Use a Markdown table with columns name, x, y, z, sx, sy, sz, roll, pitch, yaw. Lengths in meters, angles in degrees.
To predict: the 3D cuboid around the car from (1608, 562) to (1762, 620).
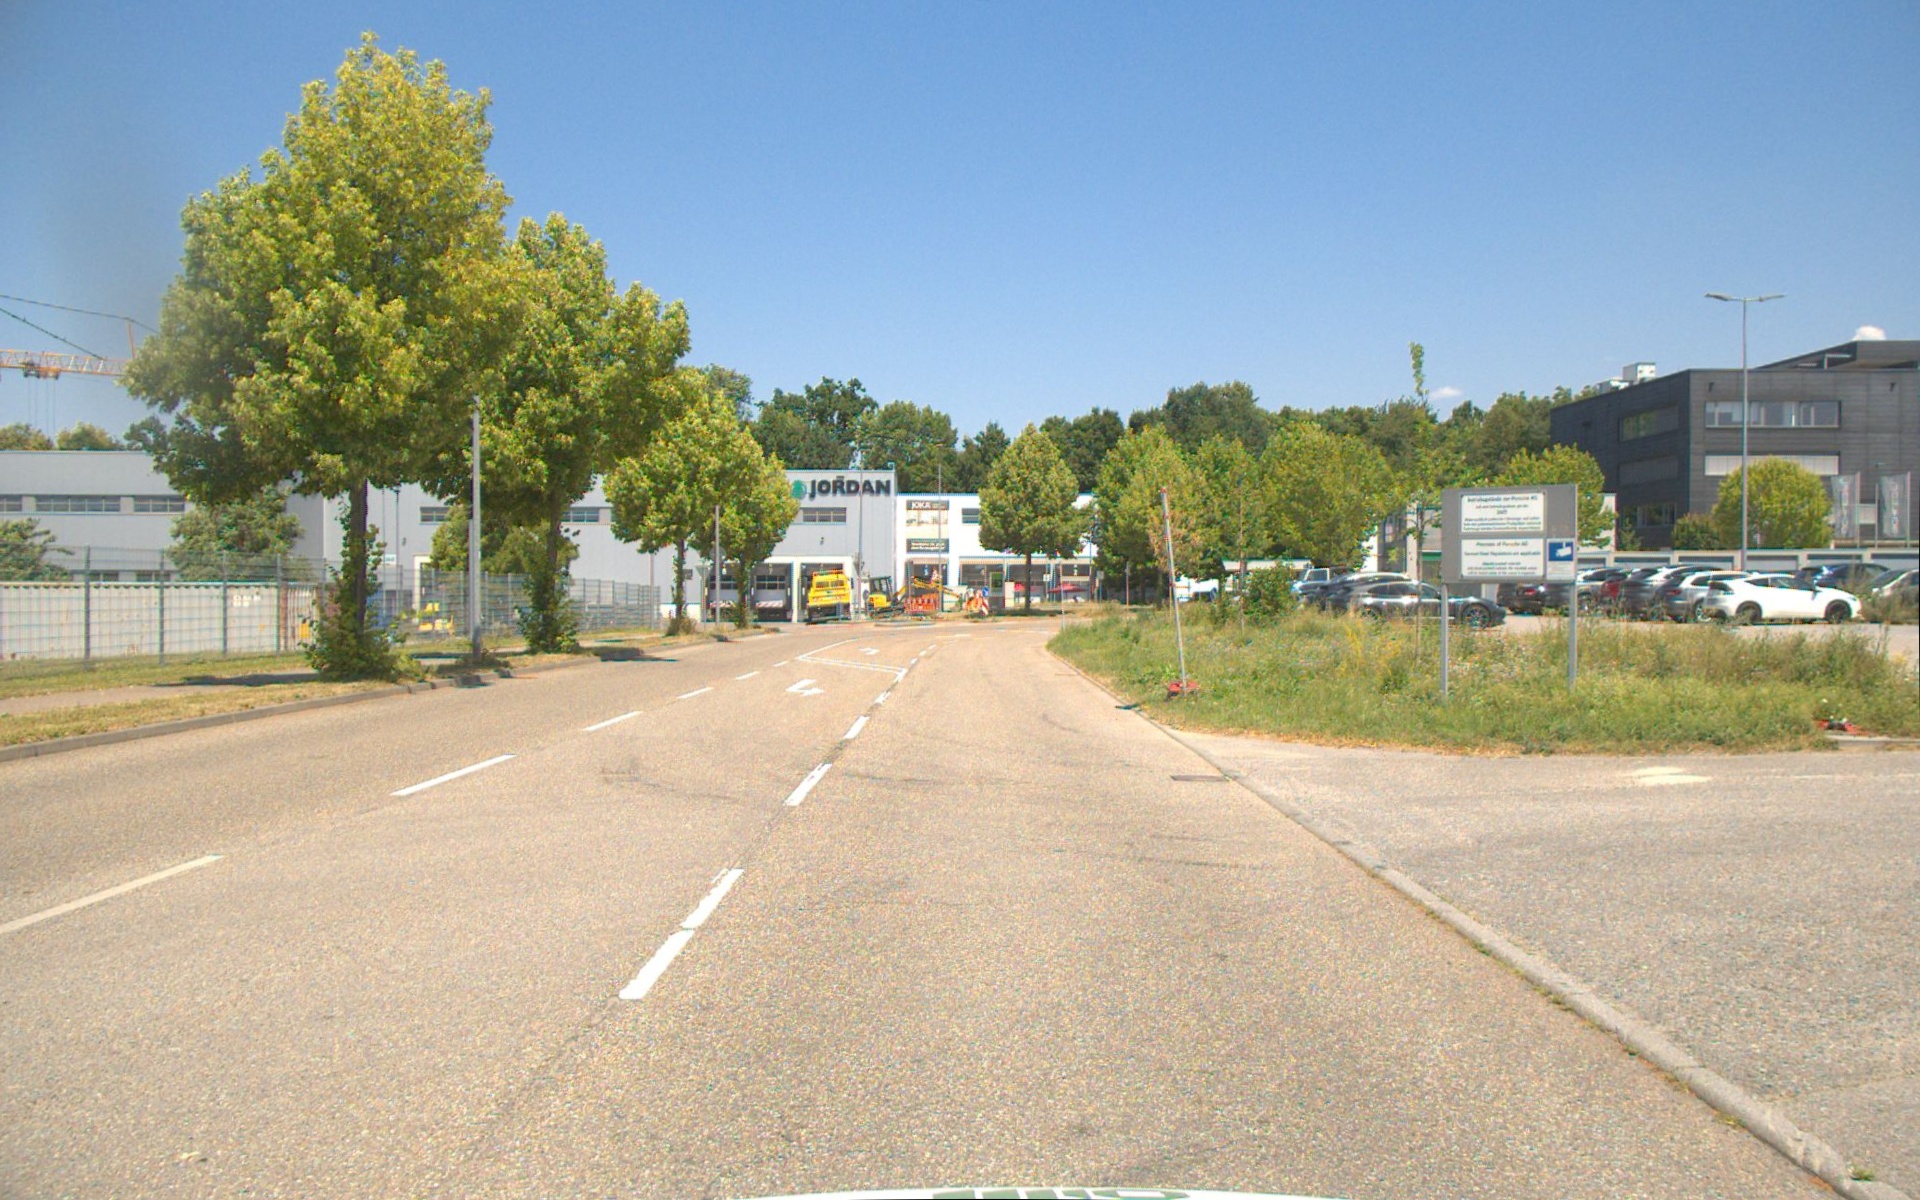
| name | x | y | z | sx | sy | sz | roll | pitch | yaw |
| --- | --- | --- | --- | --- | --- | --- | --- | --- | --- |
| car | 21.938 | -0.289 | 50.135 | 3.908 | 1.516 | 1.768 | -2 | 3 | -4 |

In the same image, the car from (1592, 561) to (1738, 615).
| name | x | y | z | sx | sy | sz | roll | pitch | yaw |
| --- | --- | --- | --- | --- | --- | --- | --- | --- | --- |
| car | 22.462 | -0.404 | 52.790 | 3.908 | 1.486 | 1.768 | -2 | 3 | -4 |

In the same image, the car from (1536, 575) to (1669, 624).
| name | x | y | z | sx | sy | sz | roll | pitch | yaw |
| --- | --- | --- | --- | --- | --- | --- | --- | --- | --- |
| car | 22.229 | -0.030 | 57.265 | 3.908 | 1.424 | 1.768 | -2 | 3 | -4 |

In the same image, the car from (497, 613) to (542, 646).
| name | x | y | z | sx | sy | sz | roll | pitch | yaw |
| --- | --- | --- | --- | --- | --- | --- | --- | --- | --- |
| car | -26.080 | 1.728 | 98.100 | 1.956 | 1.578 | 3.996 | -2 | 3 | -7 |

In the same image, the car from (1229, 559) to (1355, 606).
| name | x | y | z | sx | sy | sz | roll | pitch | yaw |
| --- | --- | --- | --- | --- | --- | --- | --- | --- | --- |
| car | 11.761 | -0.626 | 58.730 | 4.080 | 1.424 | 1.768 | -2 | 3 | -4 |

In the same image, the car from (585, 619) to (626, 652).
| name | x | y | z | sx | sy | sz | roll | pitch | yaw |
| --- | --- | --- | --- | --- | --- | --- | --- | --- | --- |
| car | -21.011 | 2.085 | 98.167 | 1.956 | 1.578 | 3.996 | -2 | 3 | -7 |

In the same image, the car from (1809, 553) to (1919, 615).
| name | x | y | z | sx | sy | sz | roll | pitch | yaw |
| --- | --- | --- | --- | --- | --- | --- | --- | --- | --- |
| car | 27.735 | -0.499 | 49.352 | 3.908 | 1.623 | 1.768 | -2 | 3 | -4 |

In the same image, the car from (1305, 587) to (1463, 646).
| name | x | y | z | sx | sy | sz | roll | pitch | yaw |
| --- | --- | --- | --- | --- | --- | --- | --- | --- | --- |
| car | 12.230 | 0.459 | 47.869 | 4.080 | 1.424 | 1.768 | -2 | 3 | -4 |

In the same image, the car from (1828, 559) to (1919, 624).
| name | x | y | z | sx | sy | sz | roll | pitch | yaw |
| --- | --- | --- | --- | --- | --- | --- | --- | --- | --- |
| car | 26.845 | -0.278 | 46.602 | 3.908 | 1.623 | 1.768 | -2 | 3 | -4 |

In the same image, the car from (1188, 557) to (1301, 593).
| name | x | y | z | sx | sy | sz | roll | pitch | yaw |
| --- | --- | --- | --- | --- | --- | --- | --- | --- | --- |
| car | 18.600 | -1.641 | 108.376 | 7.022 | 2.124 | 2.001 | -1 | -1 | 3 |

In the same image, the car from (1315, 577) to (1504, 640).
| name | x | y | z | sx | sy | sz | roll | pitch | yaw |
| --- | --- | --- | --- | --- | --- | --- | --- | --- | --- |
| car | 12.122 | 0.209 | 44.833 | 4.606 | 1.424 | 1.923 | -2 | 3 | 2 |

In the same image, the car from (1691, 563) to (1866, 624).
| name | x | y | z | sx | sy | sz | roll | pitch | yaw |
| --- | --- | --- | --- | --- | --- | --- | --- | --- | --- |
| car | 22.124 | -0.194 | 44.791 | 3.907 | 1.424 | 1.769 | -2 | 3 | -2 |

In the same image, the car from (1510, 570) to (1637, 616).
| name | x | y | z | sx | sy | sz | roll | pitch | yaw |
| --- | --- | --- | --- | --- | --- | --- | --- | --- | --- |
| car | 22.158 | -0.267 | 59.797 | 3.908 | 1.424 | 1.768 | -2 | 3 | -4 |

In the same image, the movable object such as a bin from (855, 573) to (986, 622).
| name | x | y | z | sx | sy | sz | roll | pitch | yaw |
| --- | --- | --- | --- | --- | --- | --- | --- | --- | --- |
| movable object such as a bin | -2.321 | -0.183 | 100.045 | 7.365 | 2.542 | 3.670 | -1 | 3 | 8 |

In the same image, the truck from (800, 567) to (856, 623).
| name | x | y | z | sx | sy | sz | roll | pitch | yaw |
| --- | --- | --- | --- | --- | --- | --- | --- | --- | --- |
| truck | -7.984 | -0.367 | 99.573 | 2.884 | 2.935 | 5.800 | -2 | 3 | -8 |

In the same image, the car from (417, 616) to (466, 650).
| name | x | y | z | sx | sy | sz | roll | pitch | yaw |
| --- | --- | --- | --- | --- | --- | --- | --- | --- | --- |
| car | -30.432 | 1.923 | 97.231 | 1.956 | 1.578 | 3.996 | -2 | 3 | -7 |

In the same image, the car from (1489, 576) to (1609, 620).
| name | x | y | z | sx | sy | sz | roll | pitch | yaw |
| --- | --- | --- | --- | --- | --- | --- | --- | --- | --- |
| car | 22.377 | -0.095 | 62.877 | 3.908 | 1.424 | 1.768 | -2 | 3 | -4 |

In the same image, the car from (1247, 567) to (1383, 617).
| name | x | y | z | sx | sy | sz | roll | pitch | yaw |
| --- | --- | --- | --- | --- | --- | --- | --- | --- | --- |
| car | 11.756 | -0.275 | 54.960 | 4.080 | 1.424 | 1.768 | -2 | 3 | -4 |

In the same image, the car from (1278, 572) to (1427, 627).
| name | x | y | z | sx | sy | sz | roll | pitch | yaw |
| --- | --- | --- | --- | --- | --- | --- | --- | --- | --- |
| car | 11.985 | -0.040 | 50.607 | 4.080 | 1.424 | 1.768 | -2 | 3 | -4 |

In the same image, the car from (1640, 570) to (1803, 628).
| name | x | y | z | sx | sy | sz | roll | pitch | yaw |
| --- | --- | --- | --- | --- | --- | --- | --- | --- | --- |
| car | 21.828 | -0.042 | 47.476 | 3.908 | 1.424 | 1.768 | -2 | 3 | -4 |
